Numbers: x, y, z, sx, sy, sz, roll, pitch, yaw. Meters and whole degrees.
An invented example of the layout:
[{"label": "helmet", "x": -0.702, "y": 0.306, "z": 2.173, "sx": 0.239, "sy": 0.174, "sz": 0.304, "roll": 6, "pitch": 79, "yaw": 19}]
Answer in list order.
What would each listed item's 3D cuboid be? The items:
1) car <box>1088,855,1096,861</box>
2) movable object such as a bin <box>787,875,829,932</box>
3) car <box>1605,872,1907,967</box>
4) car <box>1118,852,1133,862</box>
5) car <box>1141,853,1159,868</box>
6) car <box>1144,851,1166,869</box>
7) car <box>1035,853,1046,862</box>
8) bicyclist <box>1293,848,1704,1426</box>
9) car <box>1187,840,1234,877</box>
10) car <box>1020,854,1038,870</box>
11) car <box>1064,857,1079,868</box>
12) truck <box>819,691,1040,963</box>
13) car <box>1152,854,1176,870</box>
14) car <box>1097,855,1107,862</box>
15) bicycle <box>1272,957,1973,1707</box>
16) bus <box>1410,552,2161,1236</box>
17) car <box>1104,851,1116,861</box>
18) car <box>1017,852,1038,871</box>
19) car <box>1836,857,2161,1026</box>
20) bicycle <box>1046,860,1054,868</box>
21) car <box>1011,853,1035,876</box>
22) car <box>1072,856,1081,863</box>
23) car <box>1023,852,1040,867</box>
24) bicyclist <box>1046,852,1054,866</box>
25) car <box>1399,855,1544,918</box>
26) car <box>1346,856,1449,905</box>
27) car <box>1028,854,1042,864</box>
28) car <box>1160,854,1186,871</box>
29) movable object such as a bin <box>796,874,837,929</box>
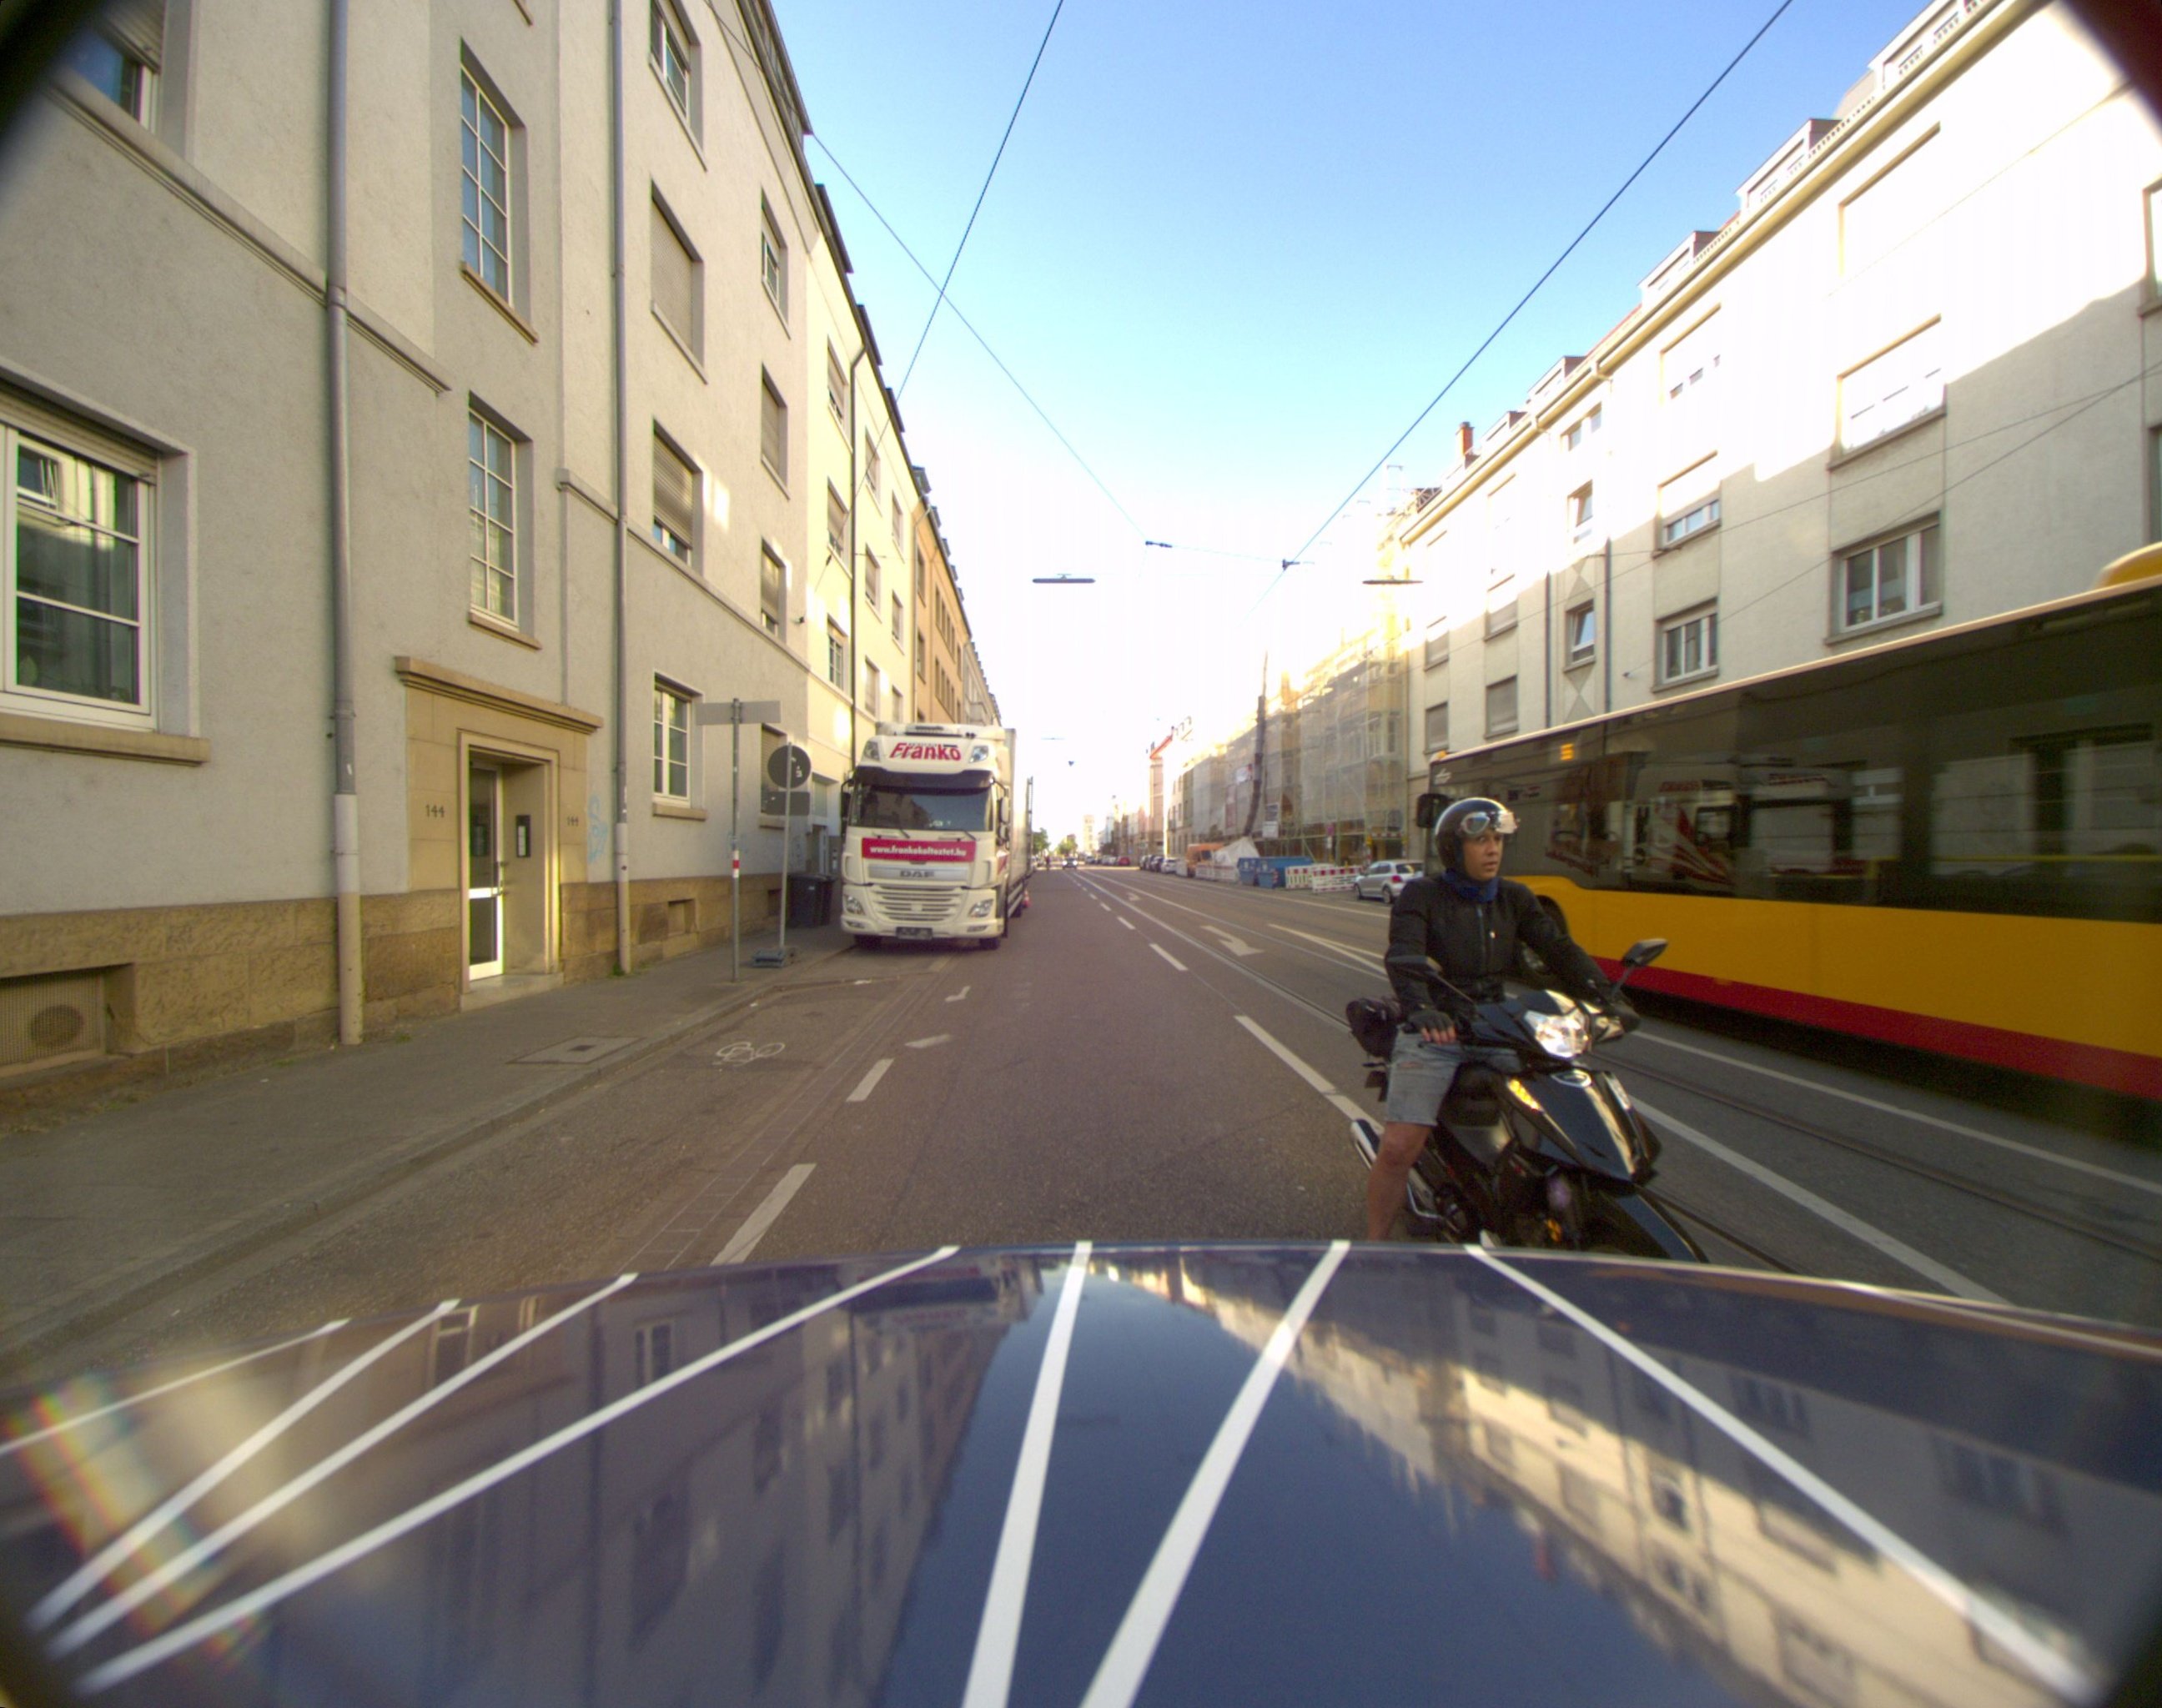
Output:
[{"label": "car", "x": 2.839, "y": 1.078, "z": 191.733, "sx": 1.799, "sy": 1.494, "sz": 3.768, "roll": -2, "pitch": 0, "yaw": -3}, {"label": "movable object such as a bin", "x": -5.398, "y": 0.969, "z": 15.033, "sx": 0.660, "sy": 1.098, "sz": 0.541, "roll": 0, "pitch": 1, "yaw": -5}, {"label": "car", "x": 11.216, "y": 1.001, "z": 13.033, "sx": 1.704, "sy": 1.209, "sz": 3.784, "roll": -2, "pitch": 1, "yaw": -3}, {"label": "car", "x": 6.970, "y": 0.397, "z": 118.762, "sx": 1.799, "sy": 1.494, "sz": 3.768, "roll": -2, "pitch": 0, "yaw": -3}, {"label": "car", "x": 7.951, "y": 0.730, "z": 88.147, "sx": 1.798, "sy": 1.601, "sz": 3.769, "roll": 0, "pitch": 0, "yaw": 1}, {"label": "car", "x": 8.123, "y": 0.614, "z": 83.277, "sx": 1.799, "sy": 1.836, "sz": 3.768, "roll": -2, "pitch": 0, "yaw": -3}, {"label": "car", "x": -7.621, "y": 0.631, "z": 142.961, "sx": 1.999, "sy": 1.630, "sz": 3.999, "roll": 1, "pitch": 0, "yaw": -2}, {"label": "bicyclist", "x": 1.243, "y": 0.757, "z": 2.467, "sx": 0.844, "sy": 1.545, "sz": 0.849, "roll": 0, "pitch": 1, "yaw": -3}, {"label": "car", "x": 8.998, "y": 0.315, "z": 53.342, "sx": 2.125, "sy": 2.454, "sz": 5.999, "roll": 1, "pitch": 0, "yaw": -2}, {"label": "car", "x": -5.257, "y": 0.801, "z": 77.284, "sx": 1.703, "sy": 1.496, "sz": 3.862, "roll": 0, "pitch": 0, "yaw": -1}, {"label": "car", "x": -1.147, "y": 1.062, "z": 93.955, "sx": 1.859, "sy": 1.369, "sz": 4.000, "roll": 0, "pitch": 0, "yaw": 1}, {"label": "truck", "x": -2.578, "y": -0.405, "z": 17.238, "sx": 2.867, "sy": 4.049, "sz": 11.776, "roll": 0, "pitch": 0, "yaw": -1}, {"label": "car", "x": 8.351, "y": 0.777, "z": 77.193, "sx": 1.702, "sy": 1.569, "sz": 4.221, "roll": -2, "pitch": 0, "yaw": -3}, {"label": "car", "x": 4.547, "y": 0.945, "z": 167.664, "sx": 1.799, "sy": 1.494, "sz": 3.768, "roll": -2, "pitch": 0, "yaw": -3}, {"label": "bicycle", "x": 1.271, "y": 1.047, "z": 2.413, "sx": 0.740, "sy": 1.170, "sz": 1.973, "roll": 0, "pitch": 0, "yaw": -3}, {"label": "bus", "x": 6.220, "y": 0.181, "z": 5.621, "sx": 2.730, "sy": 3.140, "sz": 10.192, "roll": 0, "pitch": 0, "yaw": -3}, {"label": "car", "x": 5.602, "y": 0.411, "z": 149.177, "sx": 1.999, "sy": 2.002, "sz": 3.999, "roll": 1, "pitch": 0, "yaw": -3}, {"label": "car", "x": -5.022, "y": 0.678, "z": 71.621, "sx": 1.703, "sy": 1.688, "sz": 4.187, "roll": 1, "pitch": 0, "yaw": 0}, {"label": "car", "x": 11.425, "y": 0.868, "z": 8.611, "sx": 1.704, "sy": 1.560, "sz": 3.998, "roll": -2, "pitch": 1, "yaw": -2}, {"label": "bicycle", "x": -3.265, "y": 1.071, "z": 80.322, "sx": 0.744, "sy": 0.850, "sz": 1.886, "roll": 0, "pitch": 0, "yaw": 2}, {"label": "car", "x": -4.518, "y": 0.792, "z": 59.440, "sx": 1.713, "sy": 1.683, "sz": 4.588, "roll": 1, "pitch": 0, "yaw": -3}, {"label": "car", "x": -0.973, "y": 1.388, "z": 179.700, "sx": 1.826, "sy": 1.559, "sz": 4.199, "roll": -2, "pitch": 0, "yaw": -4}, {"label": "car", "x": -5.321, "y": 0.616, "z": 82.402, "sx": 1.703, "sy": 1.581, "sz": 3.960, "roll": 0, "pitch": 0, "yaw": -2}, {"label": "bicyclist", "x": -3.253, "y": 0.532, "z": 80.432, "sx": 0.744, "sy": 1.481, "sz": 0.816, "roll": 0, "pitch": 1, "yaw": 1}, {"label": "car", "x": 10.828, "y": 0.830, "z": 21.459, "sx": 1.704, "sy": 1.558, "sz": 4.405, "roll": 0, "pitch": 0, "yaw": -2}, {"label": "car", "x": 10.725, "y": 0.836, "z": 26.090, "sx": 1.704, "sy": 1.407, "sz": 3.998, "roll": -3, "pitch": 1, "yaw": -2}, {"label": "car", "x": -6.809, "y": 0.696, "z": 112.985, "sx": 1.999, "sy": 1.412, "sz": 3.726, "roll": 1, "pitch": 0, "yaw": -2}, {"label": "car", "x": 8.571, "y": 0.781, "z": 71.134, "sx": 1.751, "sy": 1.502, "sz": 3.999, "roll": 1, "pitch": 0, "yaw": -2}, {"label": "movable object such as a bin", "x": -5.434, "y": 0.964, "z": 15.625, "sx": 0.660, "sy": 1.098, "sz": 0.541, "roll": 0, "pitch": 1, "yaw": -5}]
